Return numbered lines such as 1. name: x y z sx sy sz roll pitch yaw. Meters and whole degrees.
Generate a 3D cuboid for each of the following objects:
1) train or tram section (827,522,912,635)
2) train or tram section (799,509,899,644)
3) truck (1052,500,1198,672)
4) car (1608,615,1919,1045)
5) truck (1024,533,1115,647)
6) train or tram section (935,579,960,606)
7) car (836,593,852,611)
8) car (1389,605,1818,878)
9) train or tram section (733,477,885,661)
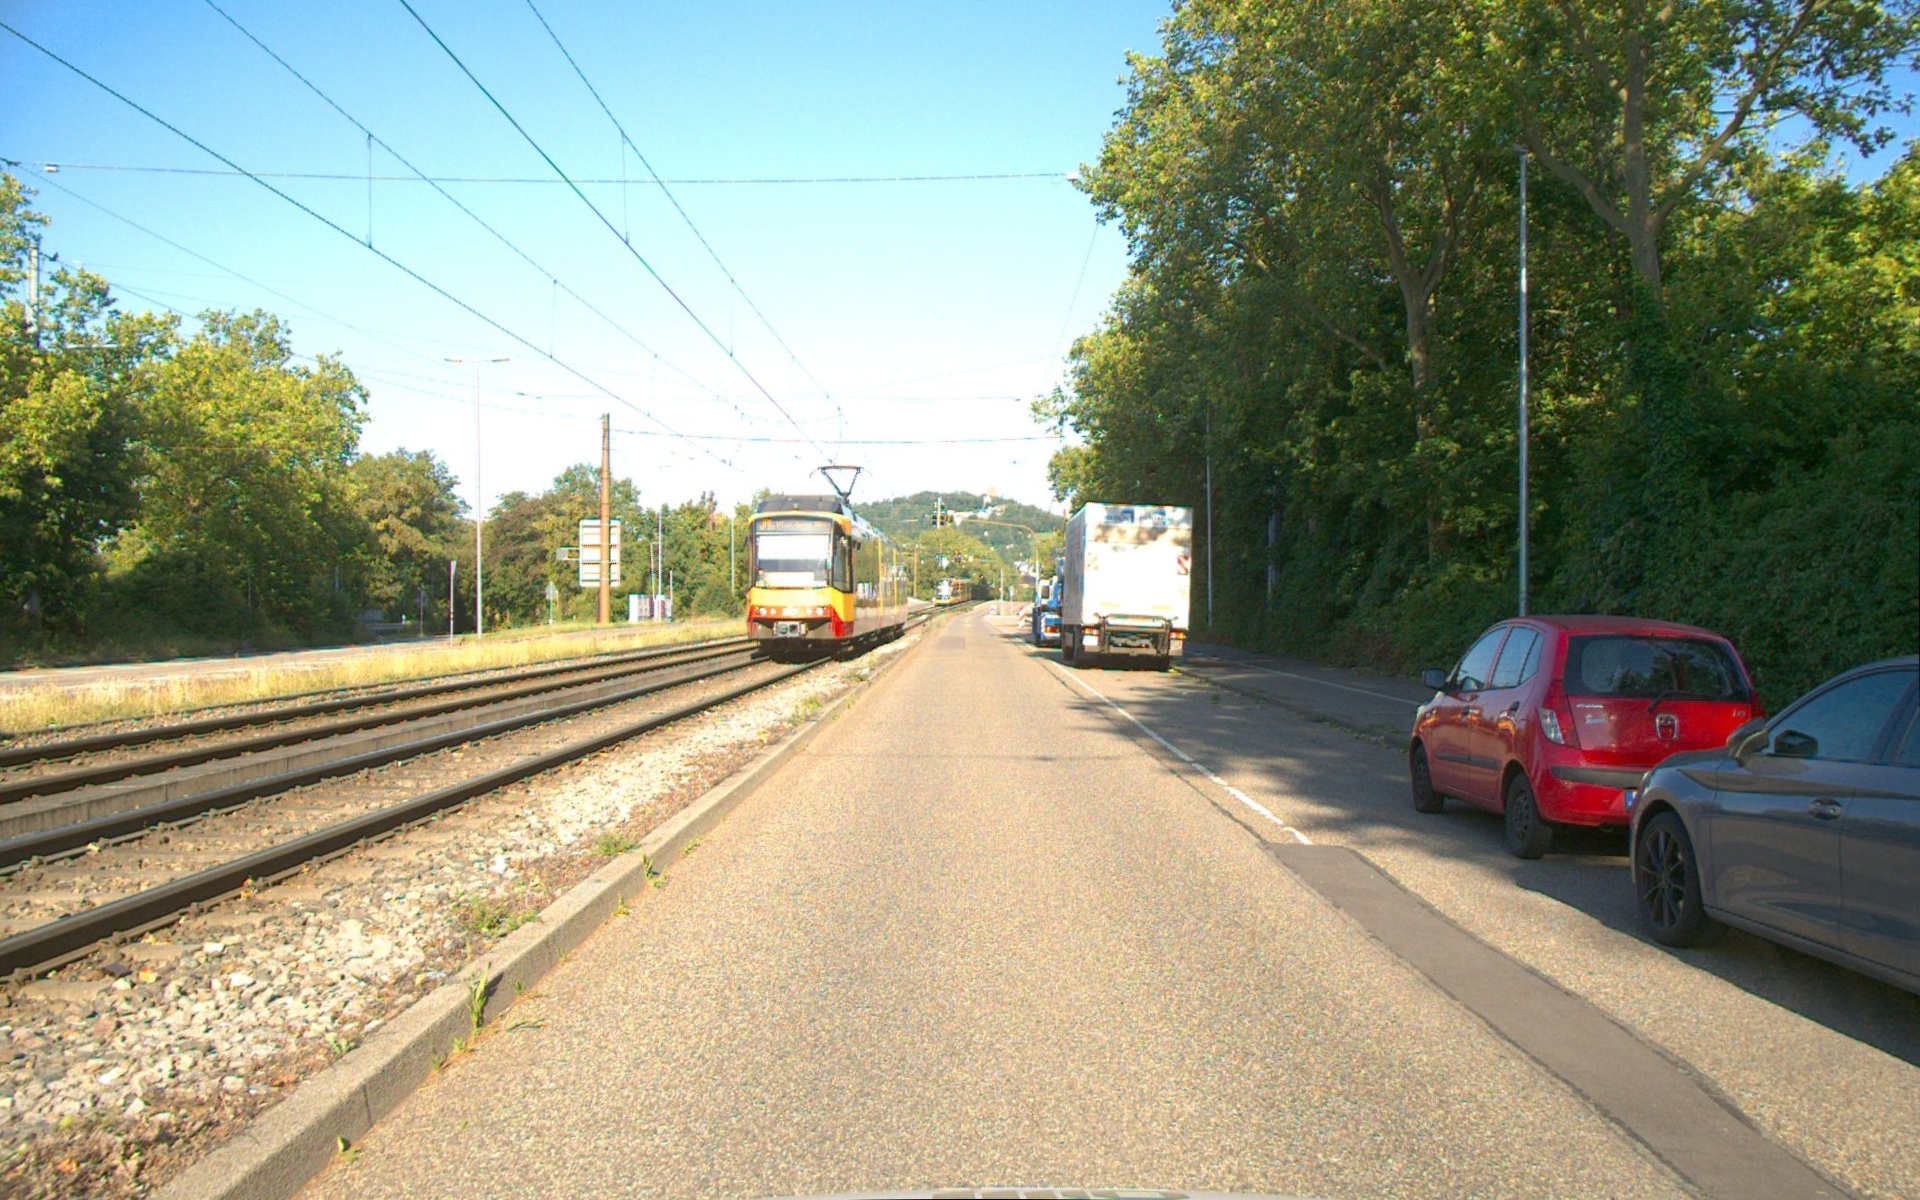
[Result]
1. train or tram section: -3.539 -0.772 67.629 2.663 4.160 12.813 0 0 0
2. train or tram section: -3.624 -0.719 56.274 2.639 4.160 9.910 0 0 0
3. truck: 4.085 -0.312 43.209 2.686 3.849 10.088 2 0 0
4. car: 4.226 0.818 6.378 1.772 1.482 4.165 0 0 -1
5. truck: 4.000 -0.339 62.570 2.661 3.849 9.760 2 0 0
6. train or tram section: -1.699 -0.977 228.700 2.588 3.629 10.837 0 0 4
7. car: -13.439 0.221 191.681 1.689 2.049 3.997 2 -1 -3
8. car: 4.368 0.860 11.826 1.606 1.563 3.640 3 0 0
9. train or tram section: -3.750 -0.693 44.463 2.665 4.162 13.615 0 0 1
